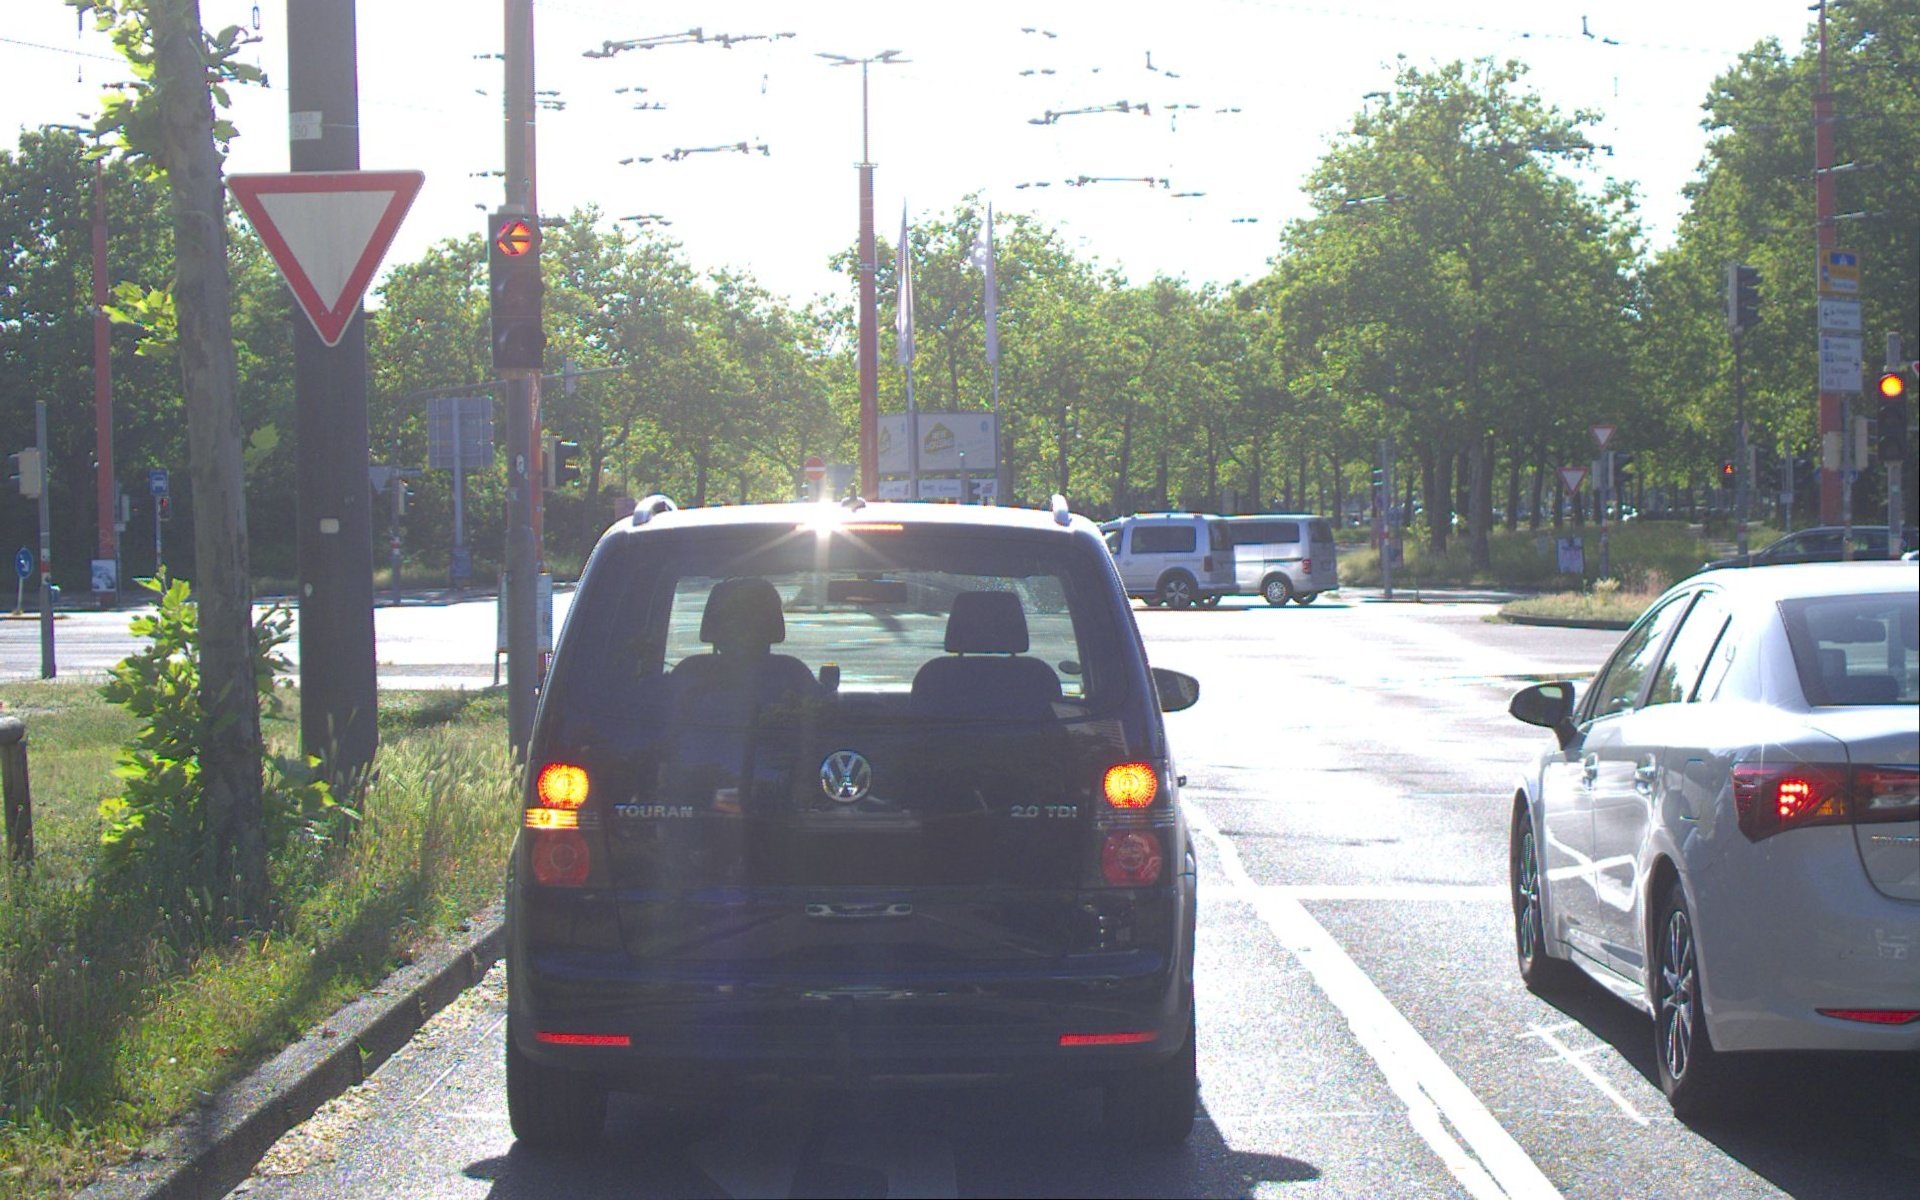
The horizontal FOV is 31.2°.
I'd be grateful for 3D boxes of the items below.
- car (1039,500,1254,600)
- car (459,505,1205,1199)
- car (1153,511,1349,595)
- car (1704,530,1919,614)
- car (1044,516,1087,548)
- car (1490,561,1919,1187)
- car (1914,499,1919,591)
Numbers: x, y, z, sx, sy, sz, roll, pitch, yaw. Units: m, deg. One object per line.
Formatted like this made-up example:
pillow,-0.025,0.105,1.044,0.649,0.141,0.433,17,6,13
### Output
car,3.682,-0.993,67.948,3.837,1.883,1.762,1,1,23
car,-0.321,0.566,9.821,1.700,1.616,3.897,0,1,-1
car,5.992,-0.977,70.789,3.647,1.650,1.678,1,1,25
car,16.461,-0.543,65.534,4.127,1.505,1.820,1,1,26
car,5.697,-3.671,185.072,1.915,1.630,3.999,1,1,7
car,2.714,0.621,10.101,1.720,1.433,4.198,1,1,1
car,19.142,-0.926,60.638,4.185,1.638,1.757,1,1,27
